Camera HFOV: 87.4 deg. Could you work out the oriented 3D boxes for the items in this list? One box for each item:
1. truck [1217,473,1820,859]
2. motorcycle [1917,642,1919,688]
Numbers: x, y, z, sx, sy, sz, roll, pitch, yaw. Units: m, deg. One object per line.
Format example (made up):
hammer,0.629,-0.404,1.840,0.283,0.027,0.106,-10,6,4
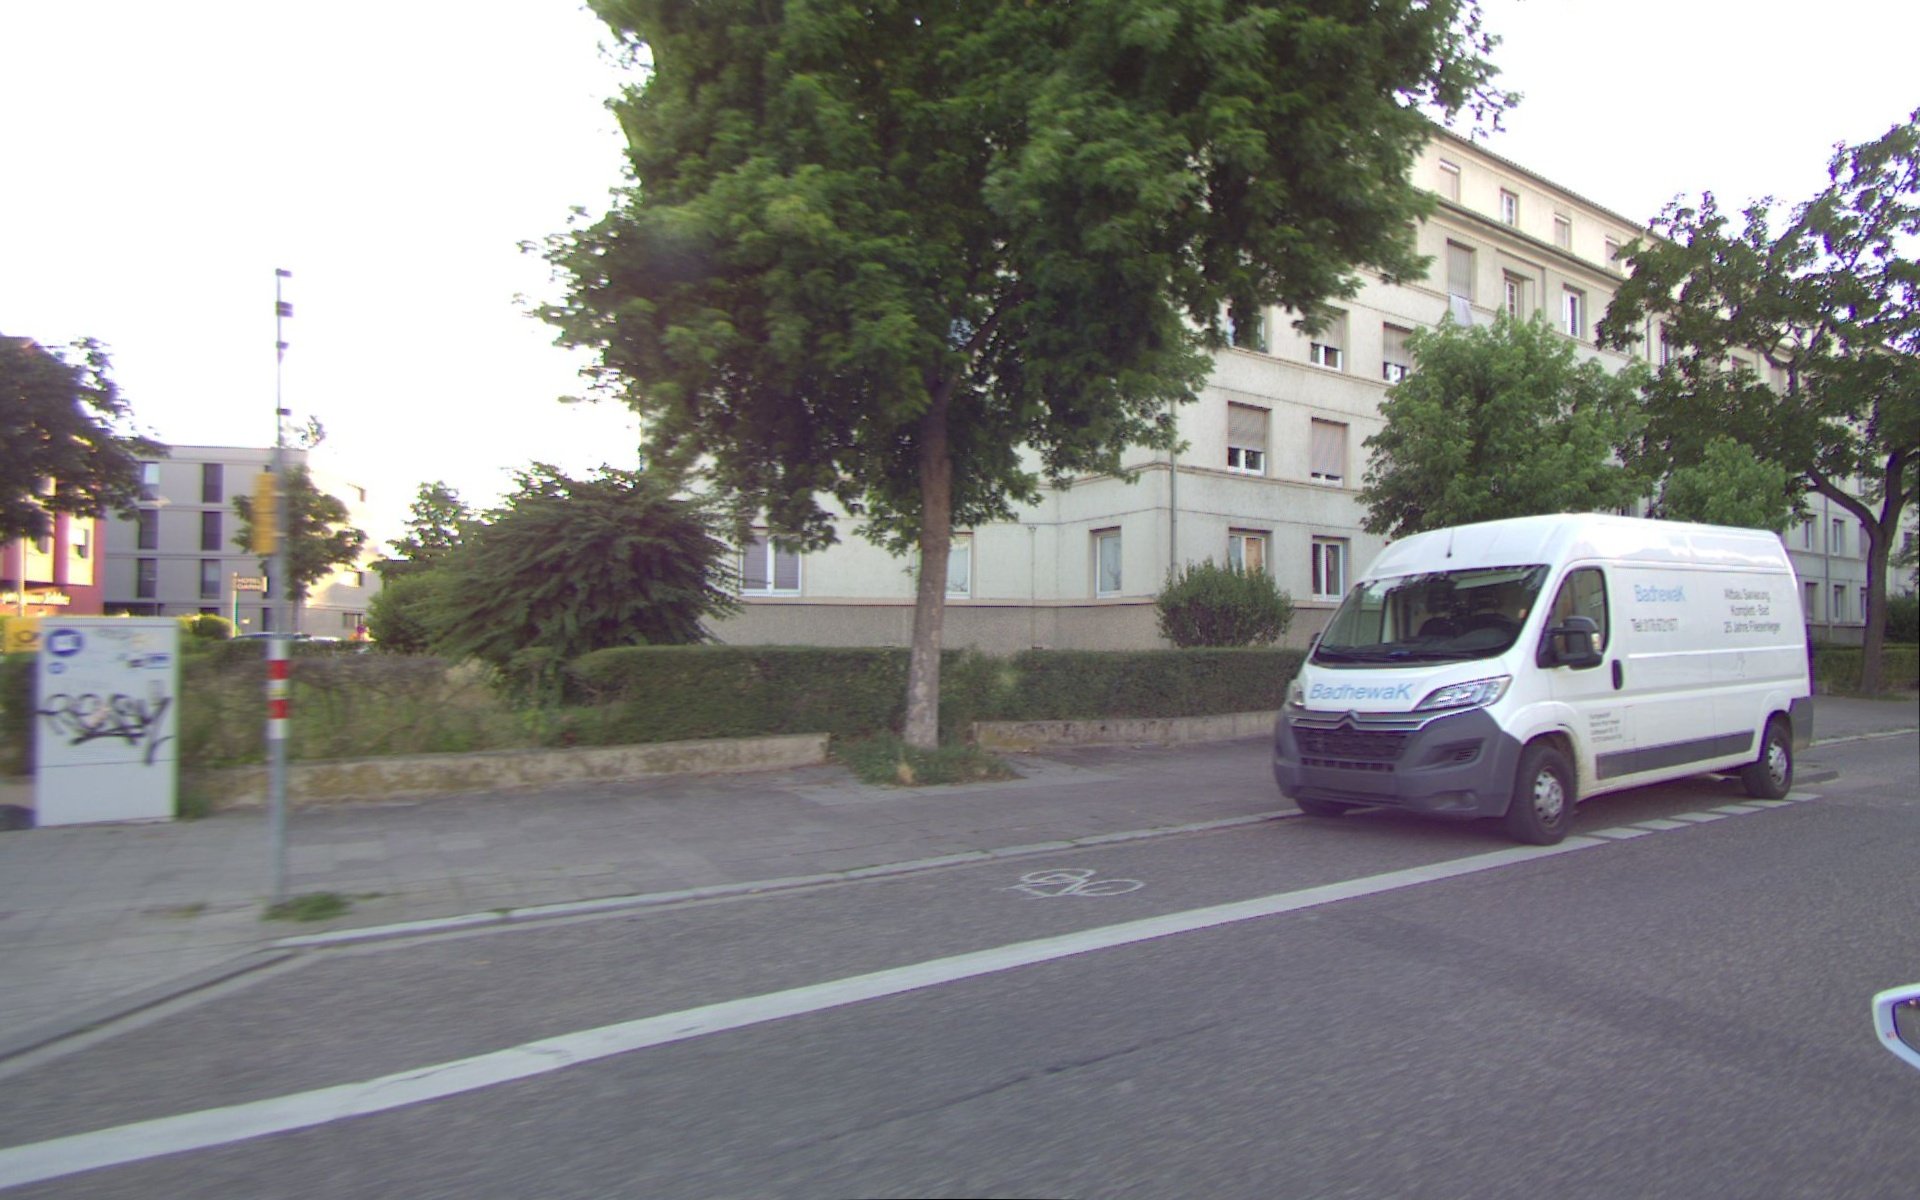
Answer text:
truck,5.179,0.538,8.934,5.981,2.454,2.090,2,-4,-33
motorcycle,29.051,1.944,29.955,1.282,1.349,0.409,2,-2,-32
